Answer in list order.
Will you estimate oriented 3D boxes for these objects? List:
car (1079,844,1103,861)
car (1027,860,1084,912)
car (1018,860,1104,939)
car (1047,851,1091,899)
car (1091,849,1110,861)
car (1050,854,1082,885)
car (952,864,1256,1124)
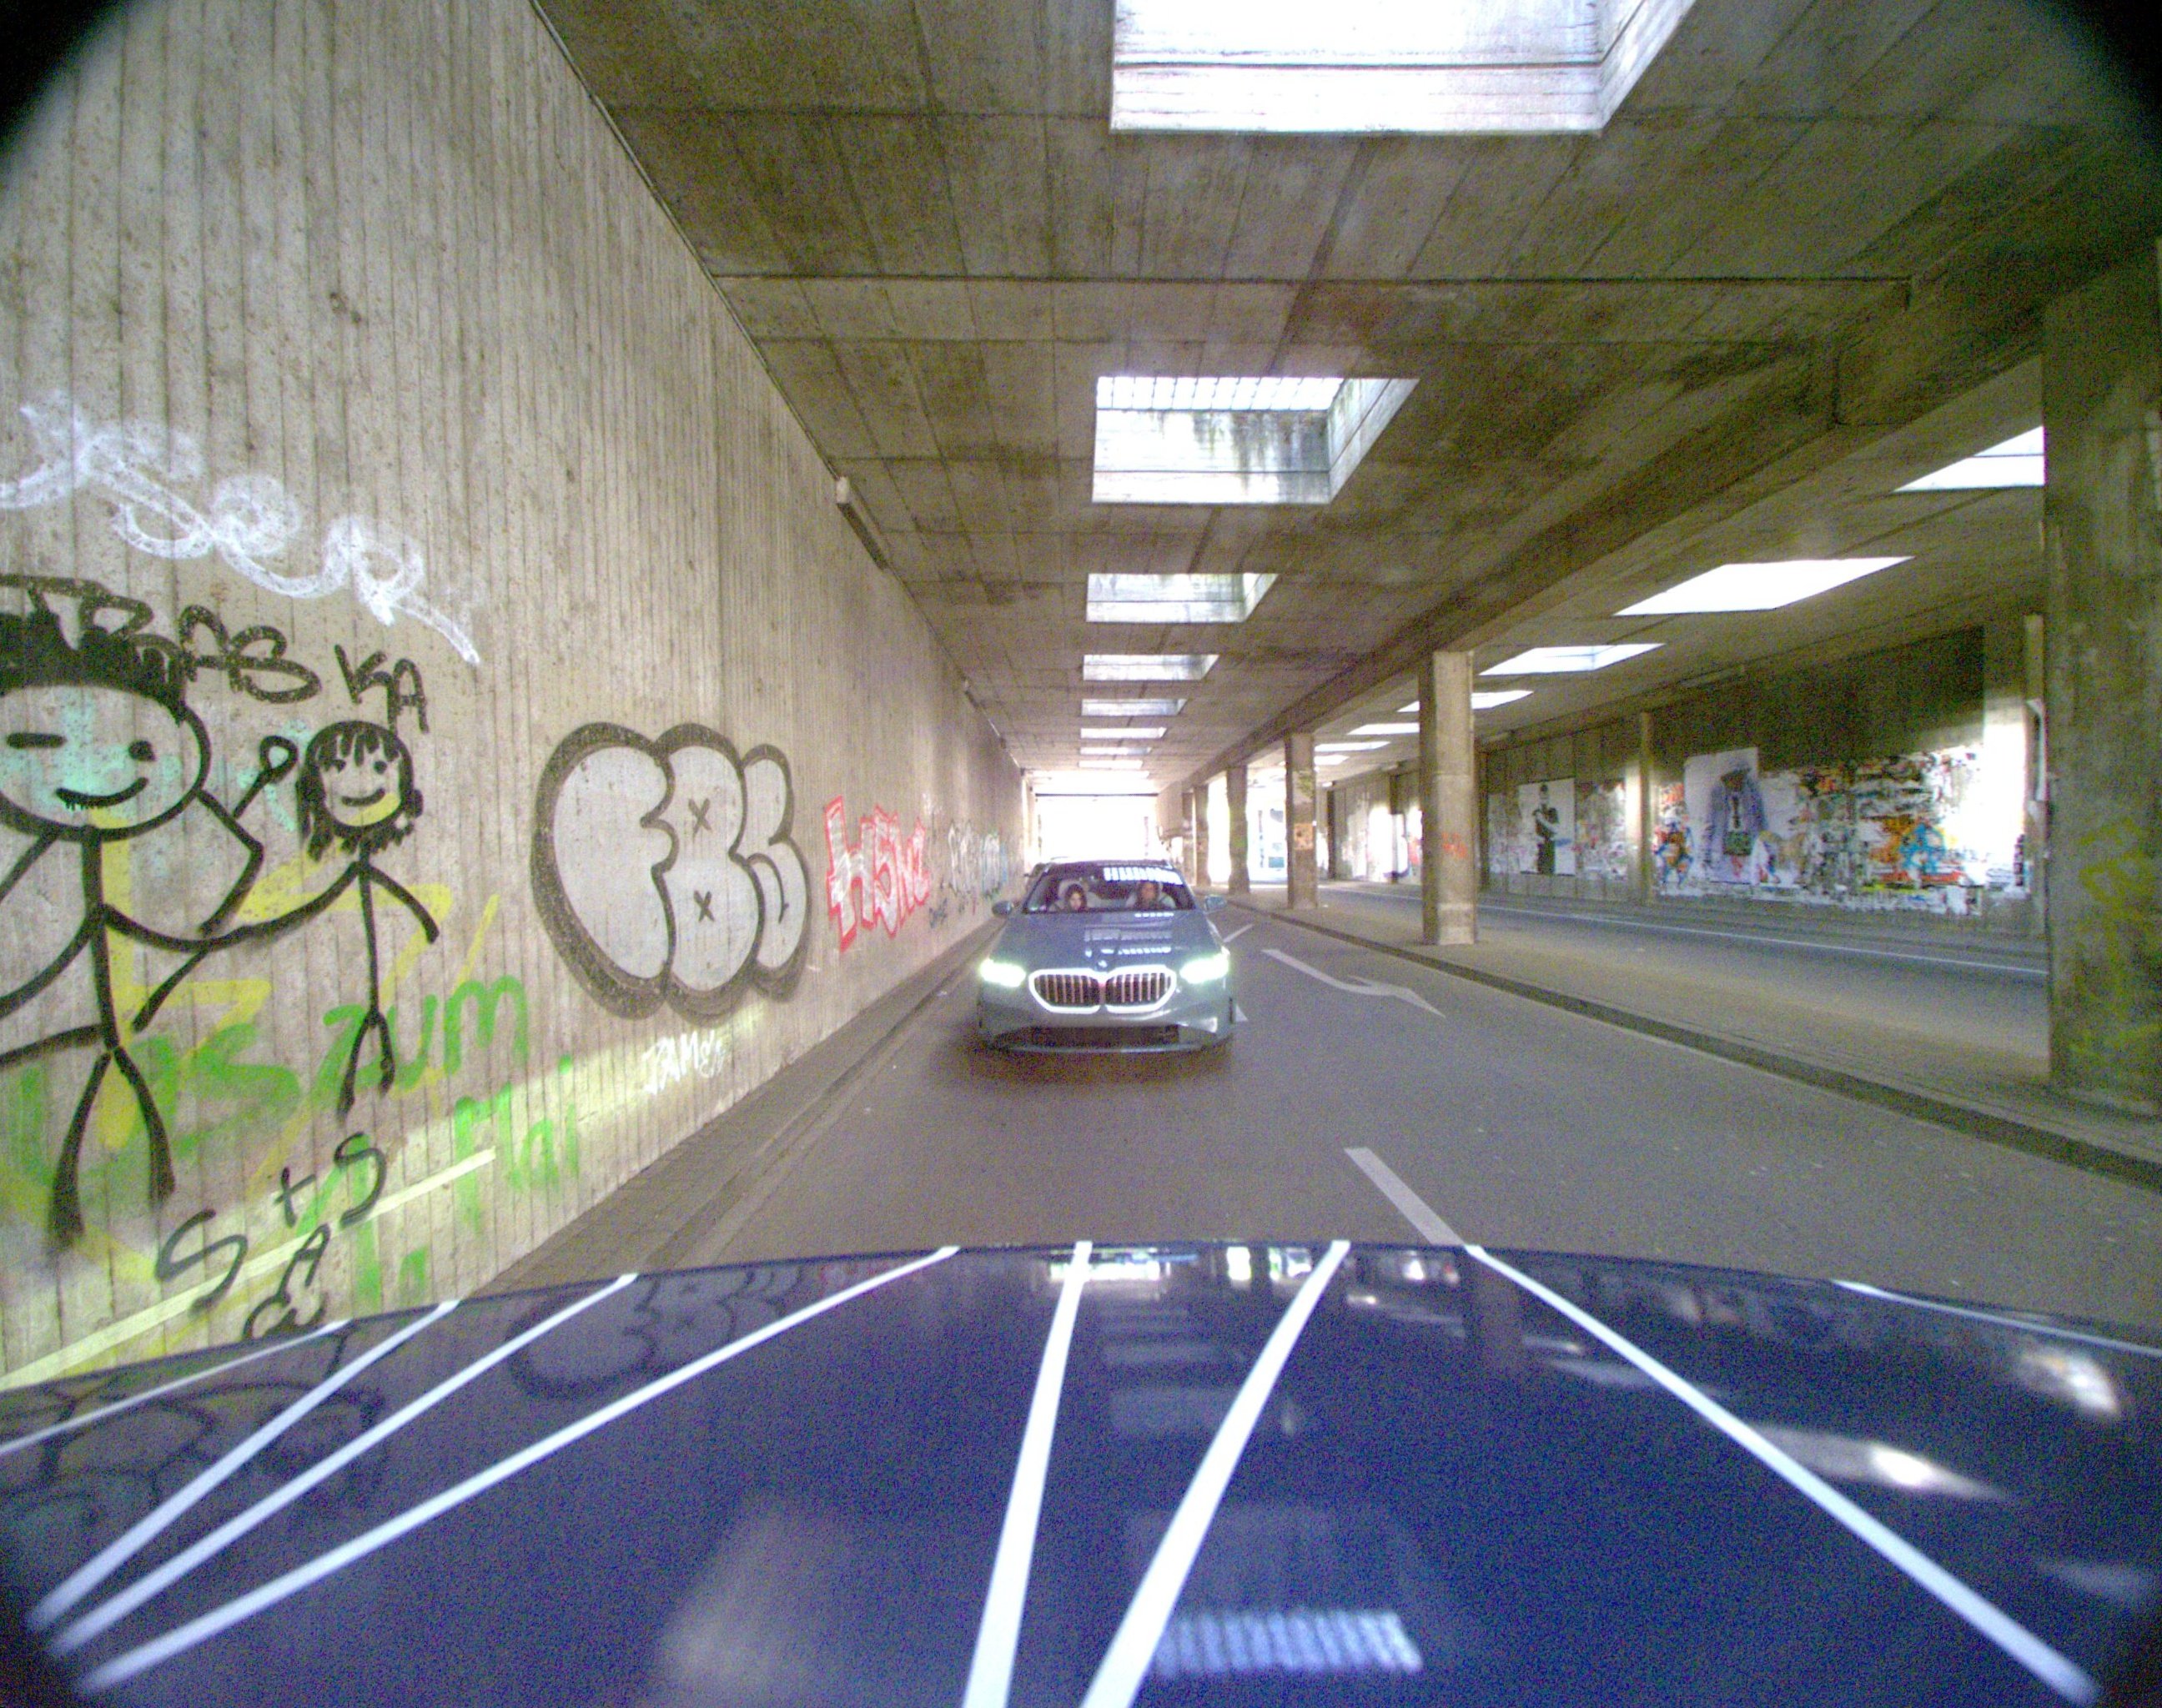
[{"bbox_3d":[1.301,-0.180,103.648,2.161,2.150,4.785,-2,0,-12],"label":"car"},{"bbox_3d":[-0.752,0.953,23.902,1.592,1.432,3.806,-2,0,0],"label":"car"},{"bbox_3d":[-0.417,0.925,17.276,1.679,1.516,3.969,-2,0,0],"label":"car"},{"bbox_3d":[-0.452,0.777,29.909,1.592,1.711,3.694,-2,0,0],"label":"car"},{"bbox_3d":[2.497,0.149,97.956,1.741,1.519,3.786,-2,0,-9],"label":"car"},{"bbox_3d":[-0.795,0.812,41.236,1.592,1.562,3.694,-2,0,0],"label":"car"},{"bbox_3d":[0.135,0.910,7.267,1.861,1.516,5.042,-2,0,0],"label":"car"}]
